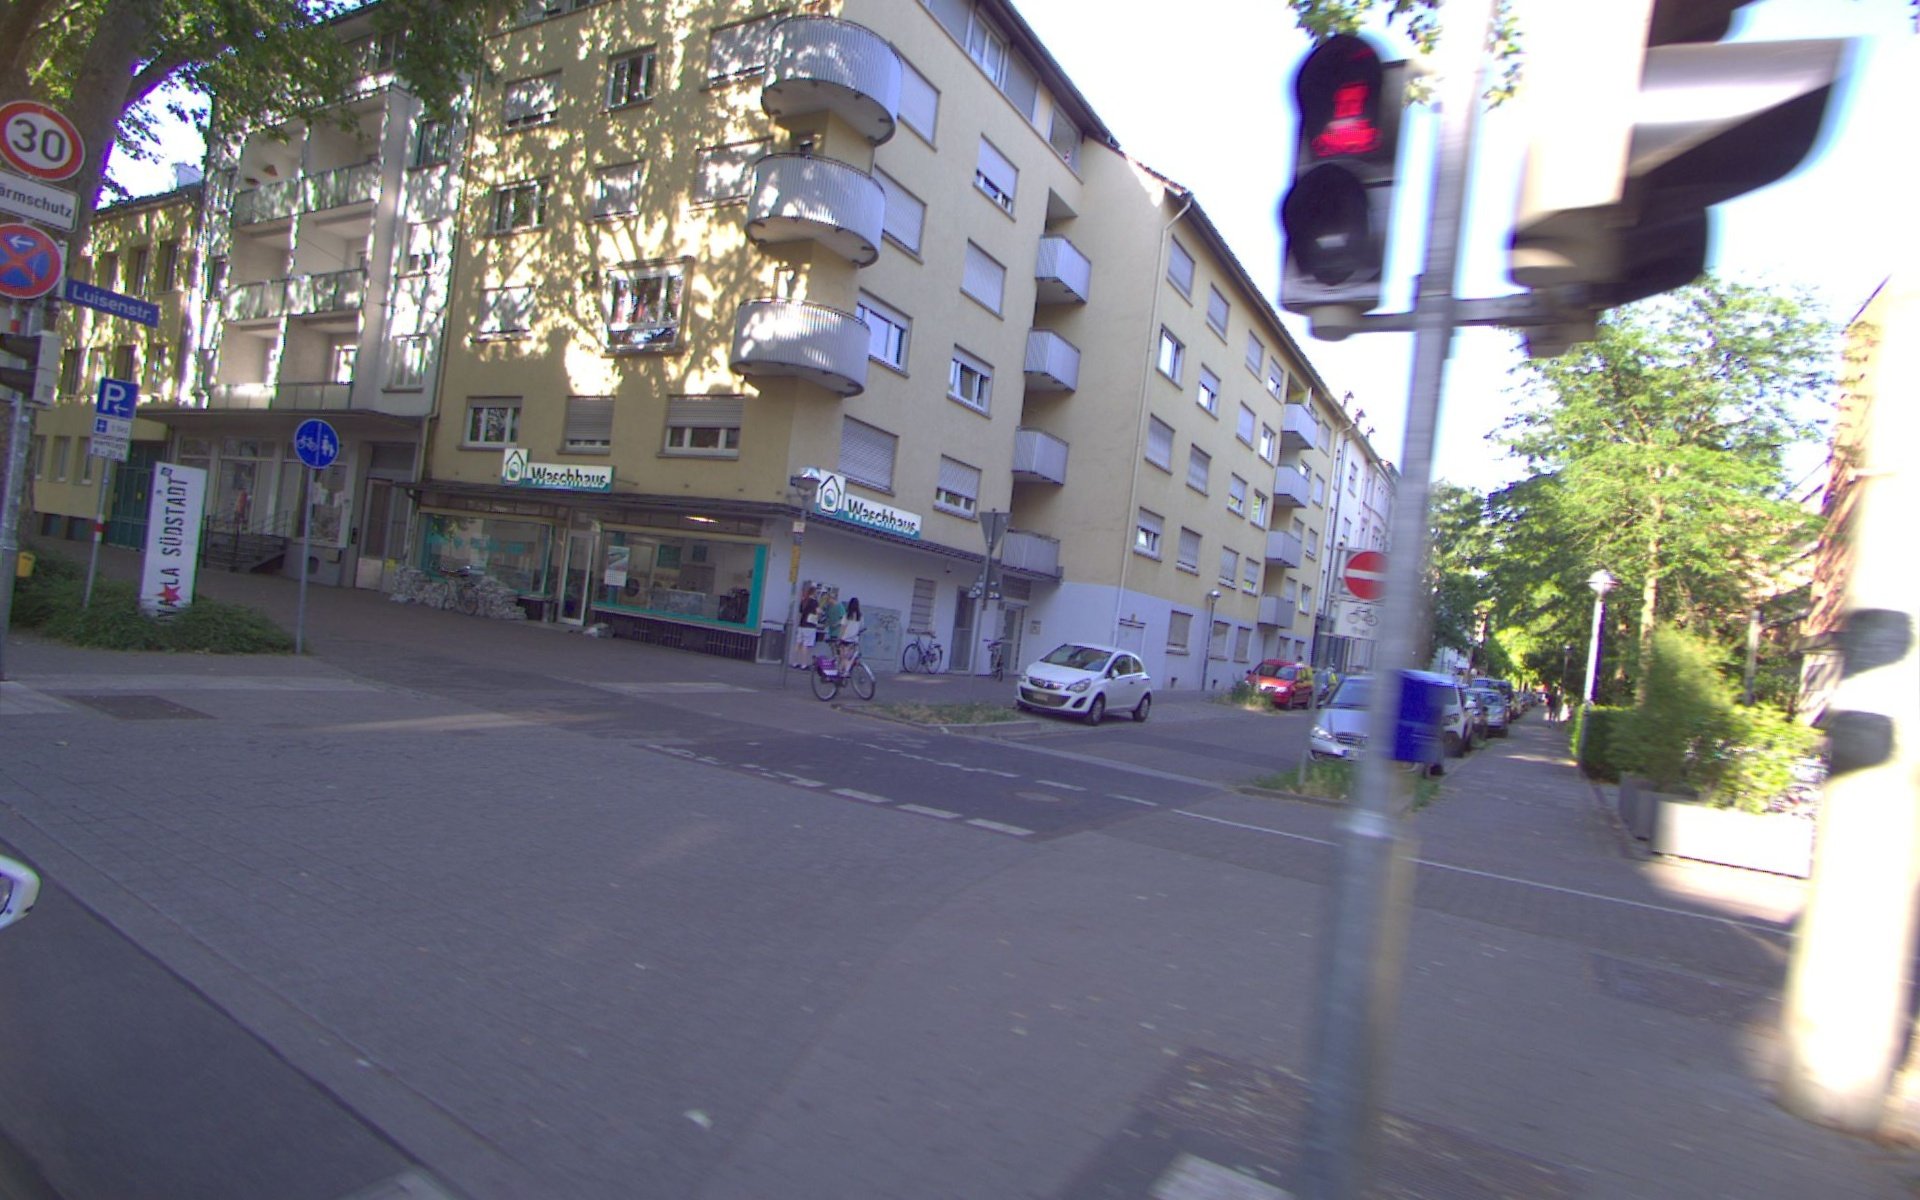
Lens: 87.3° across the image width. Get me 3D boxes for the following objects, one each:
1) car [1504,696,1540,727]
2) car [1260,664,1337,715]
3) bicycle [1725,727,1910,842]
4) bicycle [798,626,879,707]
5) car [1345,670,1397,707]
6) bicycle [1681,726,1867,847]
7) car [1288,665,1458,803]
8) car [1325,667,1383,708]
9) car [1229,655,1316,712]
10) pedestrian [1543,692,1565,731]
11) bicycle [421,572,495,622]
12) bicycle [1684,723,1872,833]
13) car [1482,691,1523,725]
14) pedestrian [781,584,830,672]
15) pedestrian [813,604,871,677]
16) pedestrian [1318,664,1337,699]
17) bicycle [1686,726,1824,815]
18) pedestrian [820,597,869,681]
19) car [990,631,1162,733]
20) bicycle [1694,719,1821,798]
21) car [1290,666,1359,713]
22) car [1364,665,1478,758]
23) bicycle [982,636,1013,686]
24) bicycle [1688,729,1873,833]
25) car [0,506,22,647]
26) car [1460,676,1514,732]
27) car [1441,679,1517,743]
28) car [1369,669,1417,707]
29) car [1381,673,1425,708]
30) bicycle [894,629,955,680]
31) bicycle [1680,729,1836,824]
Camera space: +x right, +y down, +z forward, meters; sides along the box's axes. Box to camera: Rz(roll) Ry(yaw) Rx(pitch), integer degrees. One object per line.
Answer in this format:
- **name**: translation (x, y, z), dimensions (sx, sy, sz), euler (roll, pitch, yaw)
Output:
- **car**: translation (36.755, 7.263, 65.743), dimensions (1.835, 1.713, 3.868), euler (6, -1, 31)
- **car**: translation (12.918, 3.401, 38.241), dimensions (1.834, 1.571, 3.868), euler (9, 0, 31)
- **bicycle**: translation (11.325, 2.410, 13.358), dimensions (1.668, 1.171, 0.601), euler (6, 1, 27)
- **bicycle**: translation (-1.952, 1.043, 16.413), dimensions (0.731, 1.171, 1.797), euler (6, 0, 9)
- **car**: translation (21.586, 4.627, 52.762), dimensions (1.834, 1.571, 3.868), euler (9, 0, 31)
- **bicycle**: translation (10.237, 2.318, 12.735), dimensions (1.671, 1.171, 0.600), euler (6, 1, 34)
- **car**: translation (6.740, 2.055, 16.176), dimensions (1.835, 1.713, 3.868), euler (6, -1, 31)
- **car**: translation (19.070, 4.226, 48.610), dimensions (1.834, 1.571, 3.868), euler (9, 0, 31)
- **car**: translation (10.831, 2.883, 34.737), dimensions (1.834, 1.571, 3.868), euler (9, 0, 31)
- **pedestrian**: translation (25.957, 4.882, 43.962), dimensions (0.646, 1.604, 0.770), euler (6, -1, 36)
- **bicycle**: translation (-11.885, -0.075, 23.807), dimensions (1.749, 1.009, 0.571), euler (6, 1, 27)
- **bicycle**: translation (11.757, 2.531, 14.548), dimensions (1.950, 1.171, 0.636), euler (6, 1, 34)
- **car**: translation (32.285, 6.405, 59.795), dimensions (1.835, 1.713, 3.868), euler (6, -1, 31)
- **pedestrian**: translation (-3.144, 0.578, 20.519), dimensions (0.649, 1.703, 0.703), euler (7, 0, 4)
- **pedestrian**: translation (-2.474, 0.869, 21.226), dimensions (0.755, 1.432, 0.842), euler (6, 0, 23)
- **pedestrian**: translation (18.285, 4.056, 50.078), dimensions (0.678, 1.604, 0.772), euler (6, -1, 25)
- **bicycle**: translation (13.473, 2.873, 17.113), dimensions (1.669, 1.171, 0.661), euler (6, 1, 31)
- **pedestrian**: translation (-2.303, 0.763, 19.992), dimensions (0.692, 1.557, 0.688), euler (7, 0, -18)
- **car**: translation (2.439, 1.648, 20.234), dimensions (1.834, 1.571, 3.868), euler (9, 0, 31)
- **bicycle**: translation (14.803, 2.925, 18.706), dimensions (1.666, 1.171, 0.521), euler (6, 1, 21)
- **car**: translation (15.148, 3.697, 41.674), dimensions (1.834, 1.571, 3.868), euler (9, 0, 31)
- **car**: translation (10.652, 2.507, 23.107), dimensions (1.835, 1.713, 3.868), euler (6, -1, 31)
- **bicycle**: translation (1.003, 1.630, 27.193), dimensions (0.591, 1.171, 1.696), euler (6, 0, -3)
- **bicycle**: translation (12.598, 2.755, 15.541), dimensions (2.017, 1.171, 0.731), euler (6, 1, 31)
- **car**: translation (-12.635, -0.539, 11.175), dimensions (4.927, 1.480, 1.768), euler (6, -1, 30)
- **car**: translation (24.614, 4.831, 46.938), dimensions (1.835, 2.259, 3.868), euler (6, -1, 31)
- **car**: translation (16.873, 3.566, 32.616), dimensions (1.835, 1.713, 3.868), euler (6, -1, 31)
- **car**: translation (25.237, 5.110, 58.592), dimensions (1.834, 1.829, 3.868), euler (9, 0, 31)
- **car**: translation (27.919, 5.682, 63.324), dimensions (1.834, 1.829, 3.868), euler (9, 0, 31)
- **bicycle**: translation (-0.868, 1.355, 24.989), dimensions (0.592, 1.171, 1.694), euler (6, 1, 31)
- **bicycle**: translation (12.968, 2.843, 16.422), dimensions (1.820, 1.171, 0.661), euler (6, 1, 31)
